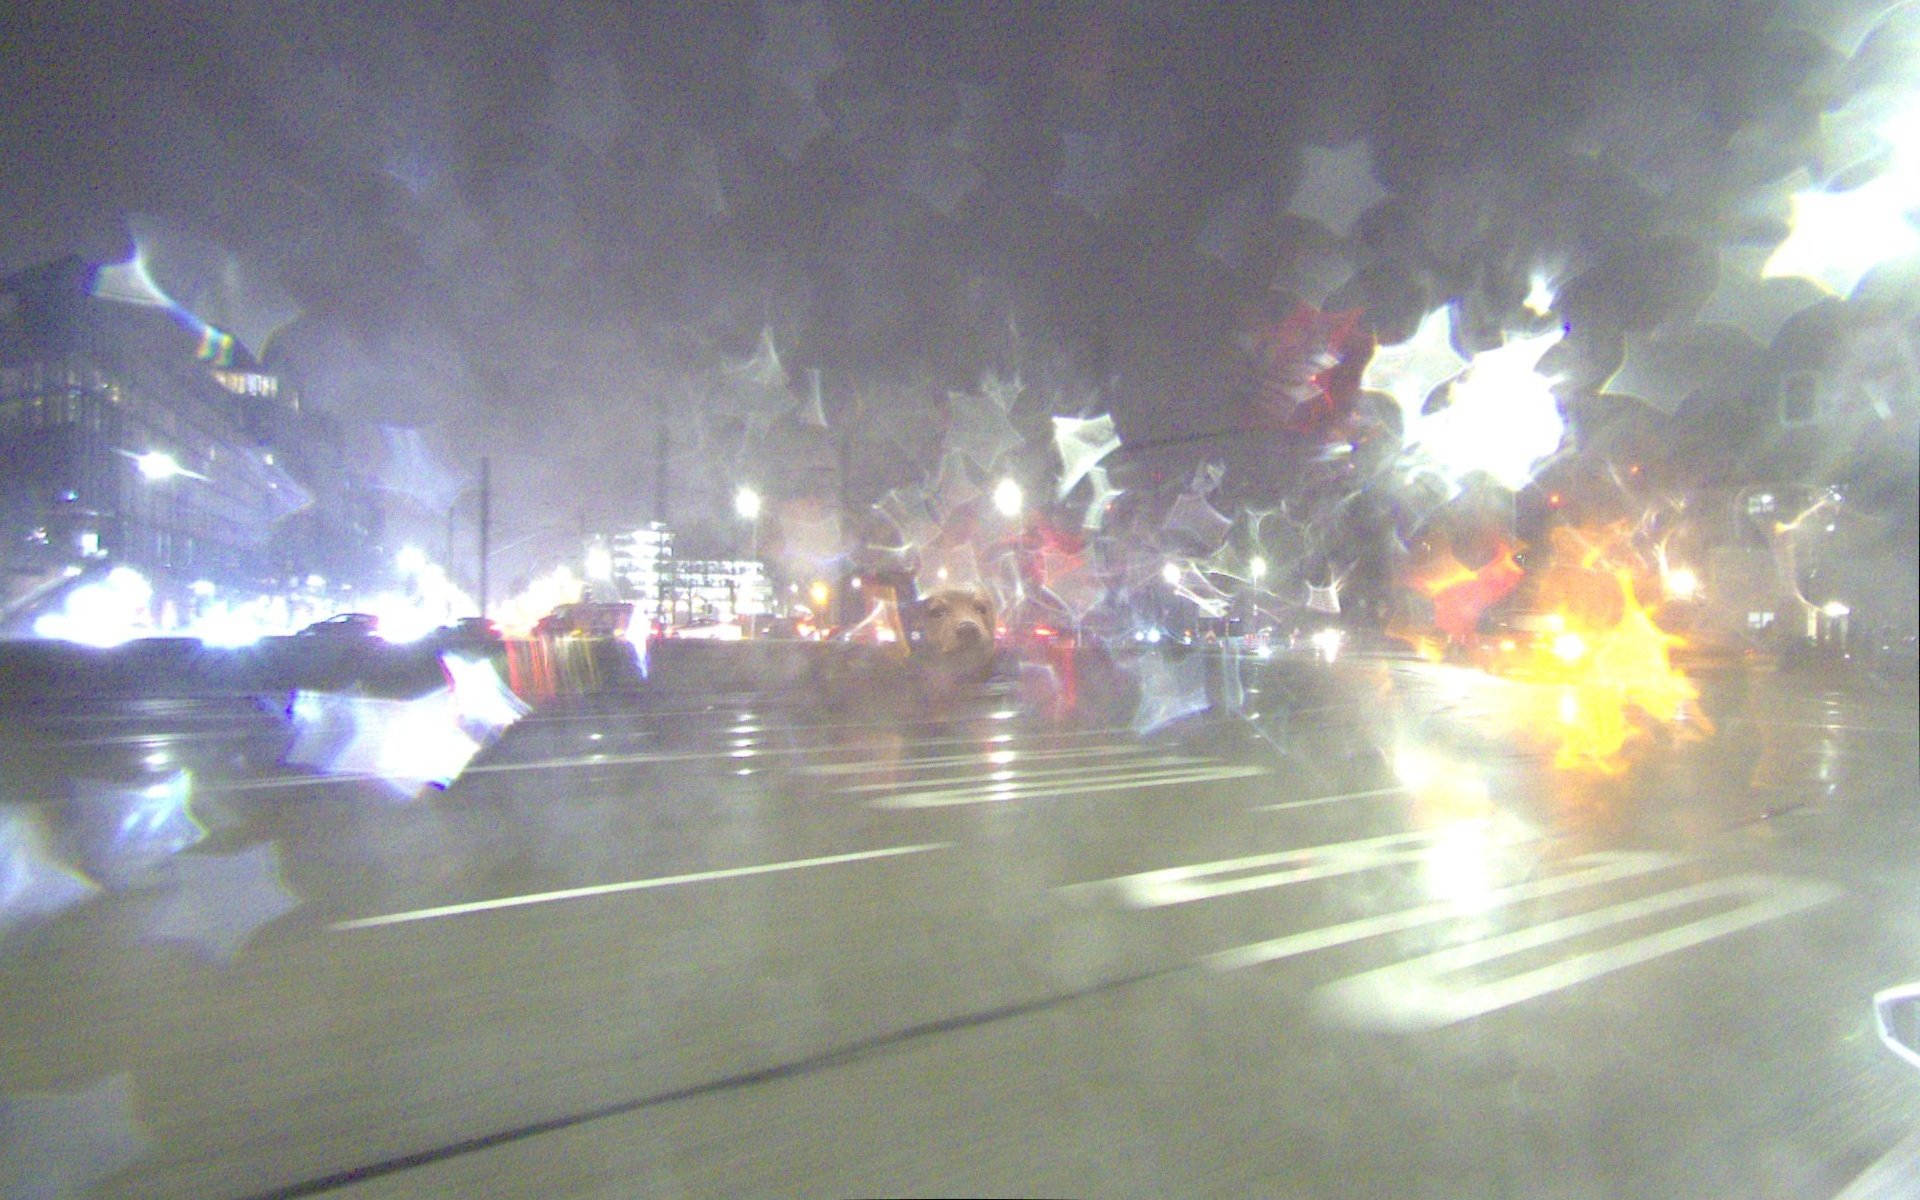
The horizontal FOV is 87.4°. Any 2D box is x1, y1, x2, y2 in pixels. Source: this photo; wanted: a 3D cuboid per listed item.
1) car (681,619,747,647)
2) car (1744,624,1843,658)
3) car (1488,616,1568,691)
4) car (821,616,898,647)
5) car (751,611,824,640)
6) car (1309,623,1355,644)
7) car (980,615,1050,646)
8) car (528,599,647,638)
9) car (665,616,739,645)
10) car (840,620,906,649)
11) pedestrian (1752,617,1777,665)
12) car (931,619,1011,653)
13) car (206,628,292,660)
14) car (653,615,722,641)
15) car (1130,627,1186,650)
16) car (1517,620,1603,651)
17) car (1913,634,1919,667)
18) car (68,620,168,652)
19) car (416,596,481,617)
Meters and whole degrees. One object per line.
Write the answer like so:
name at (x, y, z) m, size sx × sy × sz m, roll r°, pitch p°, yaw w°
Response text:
car at (-15.319, 2.031, 62.617) m, size 3.555 × 1.599 × 1.738 m, roll 2°, pitch -1°, yaw 6°
car at (45.903, 2.246, 55.381) m, size 1.780 × 1.704 × 4.015 m, roll 2°, pitch -1°, yaw -44°
car at (17.344, 1.585, 30.787) m, size 1.964 × 2.040 × 4.551 m, roll 1°, pitch -1°, yaw 29°
car at (-5.730, 1.792, 57.252) m, size 3.887 × 1.599 × 1.877 m, roll 1°, pitch -1°, yaw 21°
car at (-10.139, 1.485, 58.975) m, size 3.888 × 1.599 × 1.736 m, roll 1°, pitch -1°, yaw 23°
car at (33.660, 3.036, 90.754) m, size 4.354 × 1.781 × 1.858 m, roll 2°, pitch -1°, yaw -37°
car at (3.027, 1.680, 55.747) m, size 3.576 × 1.599 × 1.728 m, roll 1°, pitch -1°, yaw 42°
car at (-22.187, 1.094, 60.089) m, size 6.199 × 2.117 × 2.512 m, roll 2°, pitch -1°, yaw -9°
car at (-15.457, 1.823, 60.326) m, size 3.921 × 1.637 × 1.837 m, roll 2°, pitch -1°, yaw 1°
car at (-5.251, 2.092, 60.509) m, size 3.559 × 1.599 × 1.736 m, roll 1°, pitch -1°, yaw 23°
pedestrian at (32.738, 1.670, 40.875) m, size 0.642 × 1.927 × 0.728 m, roll 1°, pitch -1°, yaw 27°
car at (0.571, 1.903, 53.676) m, size 3.938 × 1.637 × 1.829 m, roll 1°, pitch -1°, yaw 39°
car at (-40.315, 2.475, 57.046) m, size 1.737 × 1.639 × 3.876 m, roll 2°, pitch -1°, yaw 9°
car at (-17.586, 1.806, 64.879) m, size 3.919 × 1.506 × 1.770 m, roll 2°, pitch -1°, yaw 8°
car at (14.894, 2.914, 75.709) m, size 3.843 × 1.661 × 1.850 m, roll 2°, pitch -1°, yaw -29°
car at (35.360, 2.083, 59.268) m, size 1.901 × 1.706 × 3.958 m, roll 2°, pitch -1°, yaw -37°
car at (45.672, 2.395, 46.897) m, size 1.698 × 1.516 × 3.889 m, roll 1°, pitch -1°, yaw 43°
car at (-44.889, 1.892, 53.655) m, size 1.737 × 1.639 × 3.876 m, roll 2°, pitch -1°, yaw 8°
car at (-37.828, 0.493, 74.427) m, size 1.799 × 1.463 × 4.015 m, roll 1°, pitch -1°, yaw 26°
